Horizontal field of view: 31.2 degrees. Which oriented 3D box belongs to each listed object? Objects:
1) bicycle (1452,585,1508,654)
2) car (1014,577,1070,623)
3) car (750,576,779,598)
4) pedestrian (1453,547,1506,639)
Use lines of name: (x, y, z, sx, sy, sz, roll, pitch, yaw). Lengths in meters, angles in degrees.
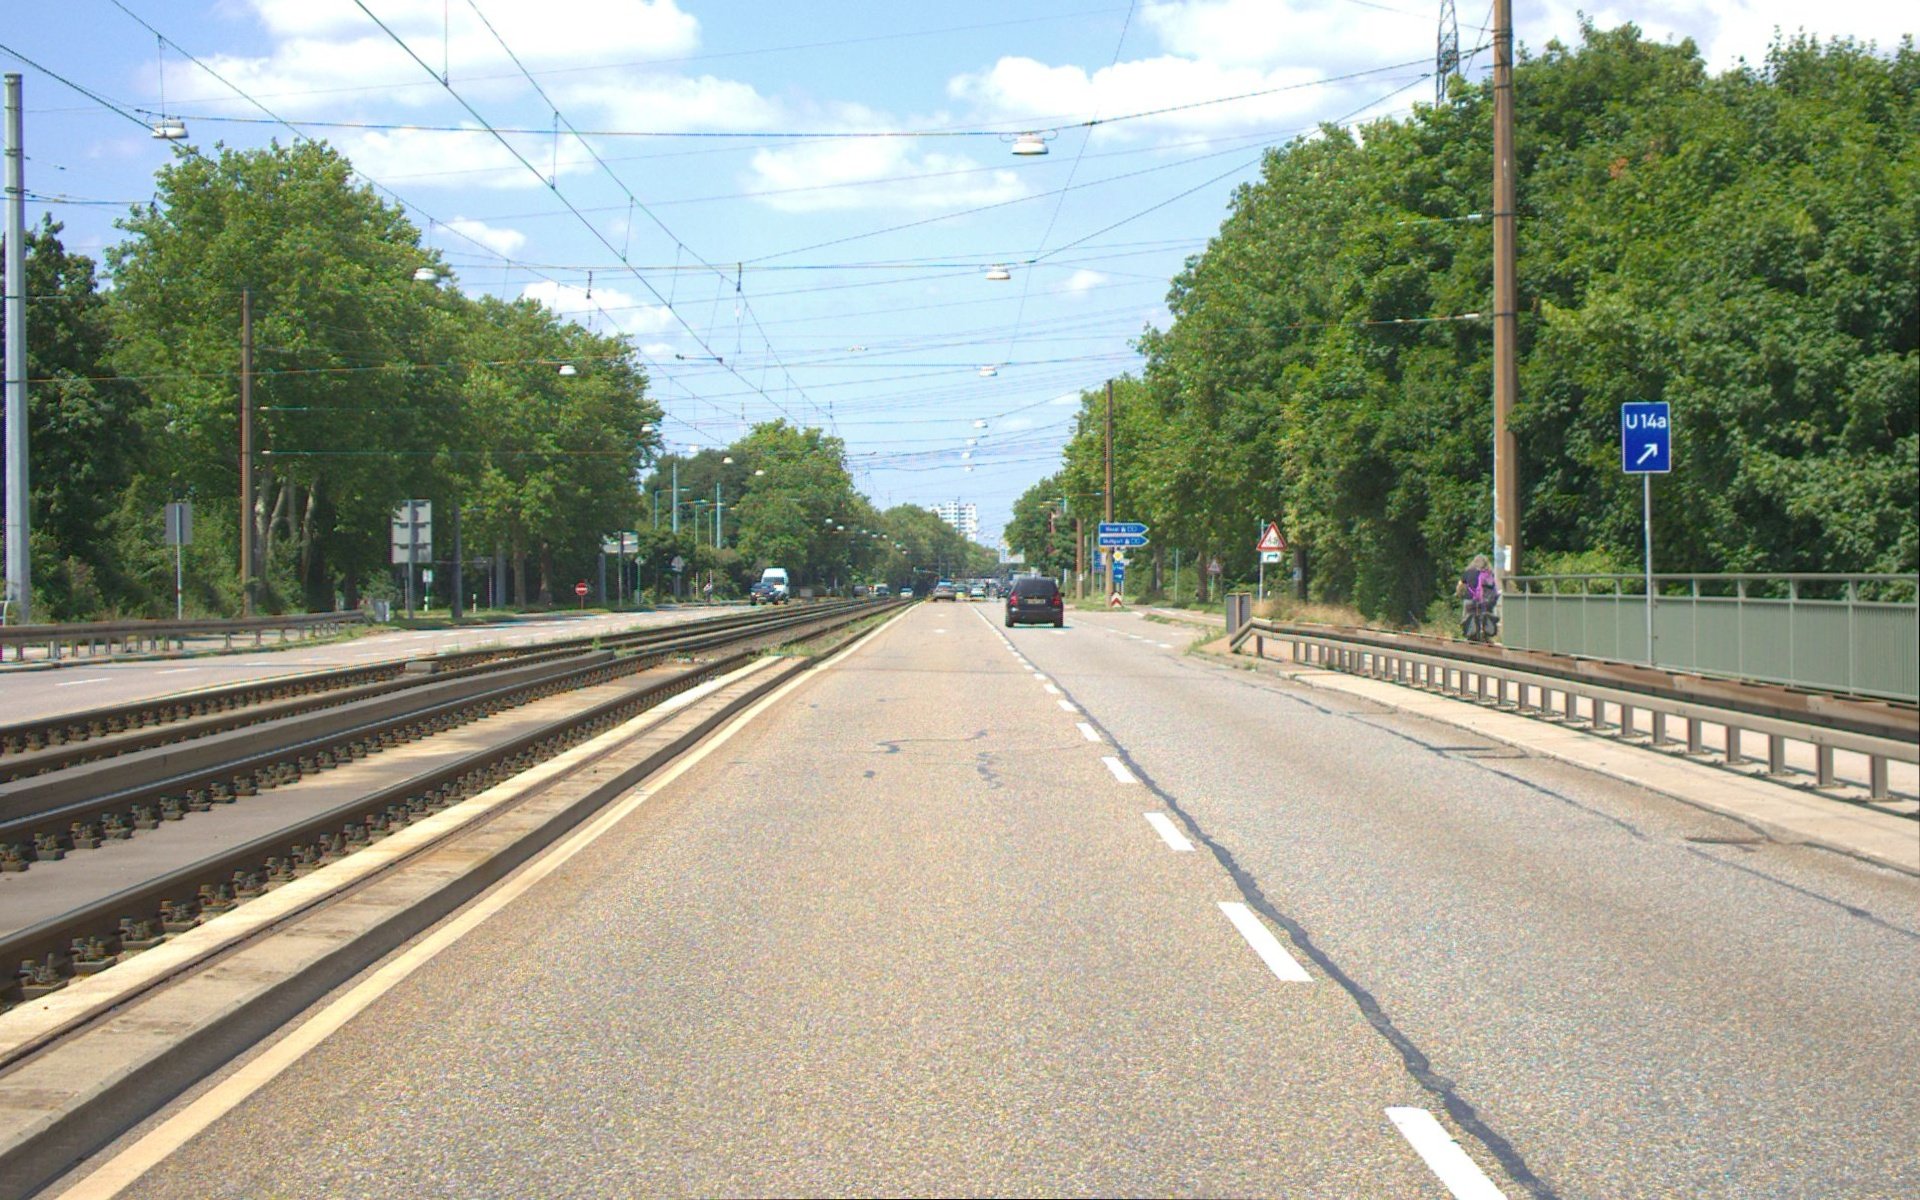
bicycle: (7.843, 0.288, 51.925, 0.559, 1.021, 1.848, -1, 0, 0)
car: (2.548, -0.014, 107.788, 1.586, 1.338, 3.272, -1, 1, -1)
car: (-14.270, -0.941, 250.653, 1.817, 1.509, 4.427, -1, 0, 0)
pedestrian: (7.856, -0.114, 52.001, 0.628, 1.369, 1.050, -1, 0, 0)
